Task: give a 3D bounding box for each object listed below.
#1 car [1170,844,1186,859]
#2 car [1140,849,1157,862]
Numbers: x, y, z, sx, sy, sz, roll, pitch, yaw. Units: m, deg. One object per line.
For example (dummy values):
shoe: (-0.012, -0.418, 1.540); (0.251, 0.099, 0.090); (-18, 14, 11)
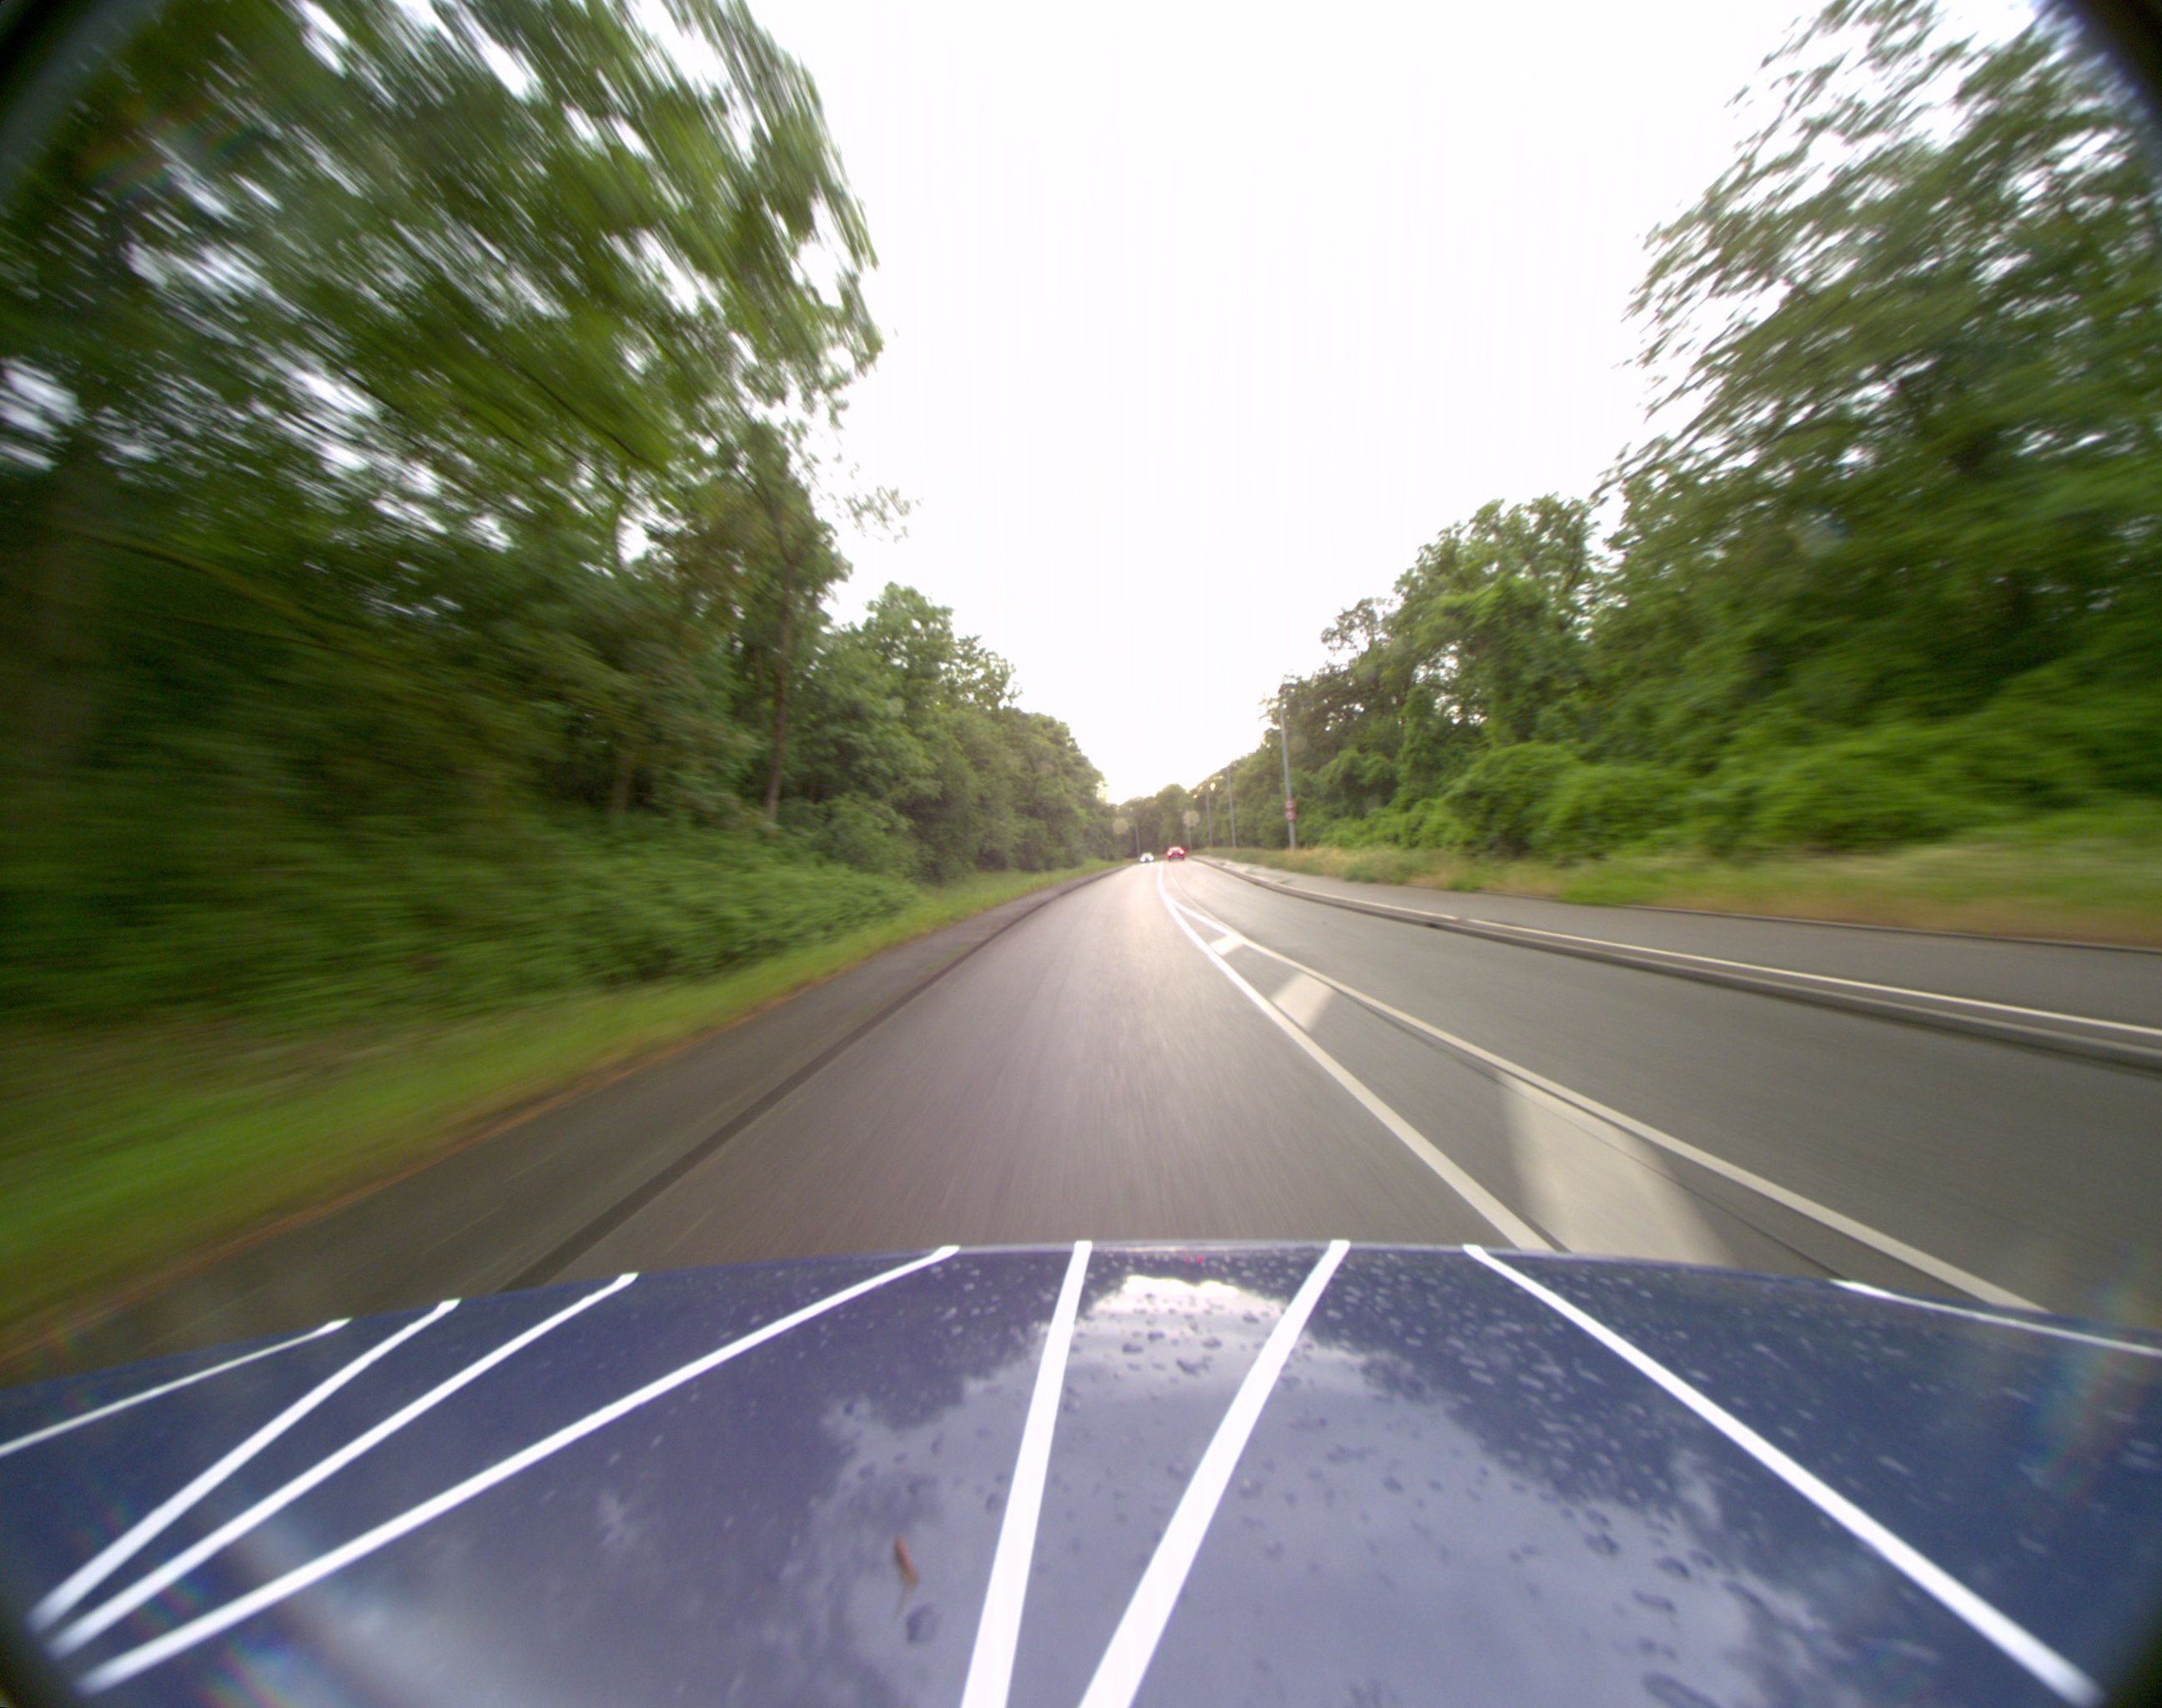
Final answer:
car: (12.372, -0.334, 96.859); (1.997, 1.674, 4.002); (-3, 0, 8)
car: (9.487, 0.215, 106.419); (1.997, 1.674, 4.002); (-3, 0, 8)
